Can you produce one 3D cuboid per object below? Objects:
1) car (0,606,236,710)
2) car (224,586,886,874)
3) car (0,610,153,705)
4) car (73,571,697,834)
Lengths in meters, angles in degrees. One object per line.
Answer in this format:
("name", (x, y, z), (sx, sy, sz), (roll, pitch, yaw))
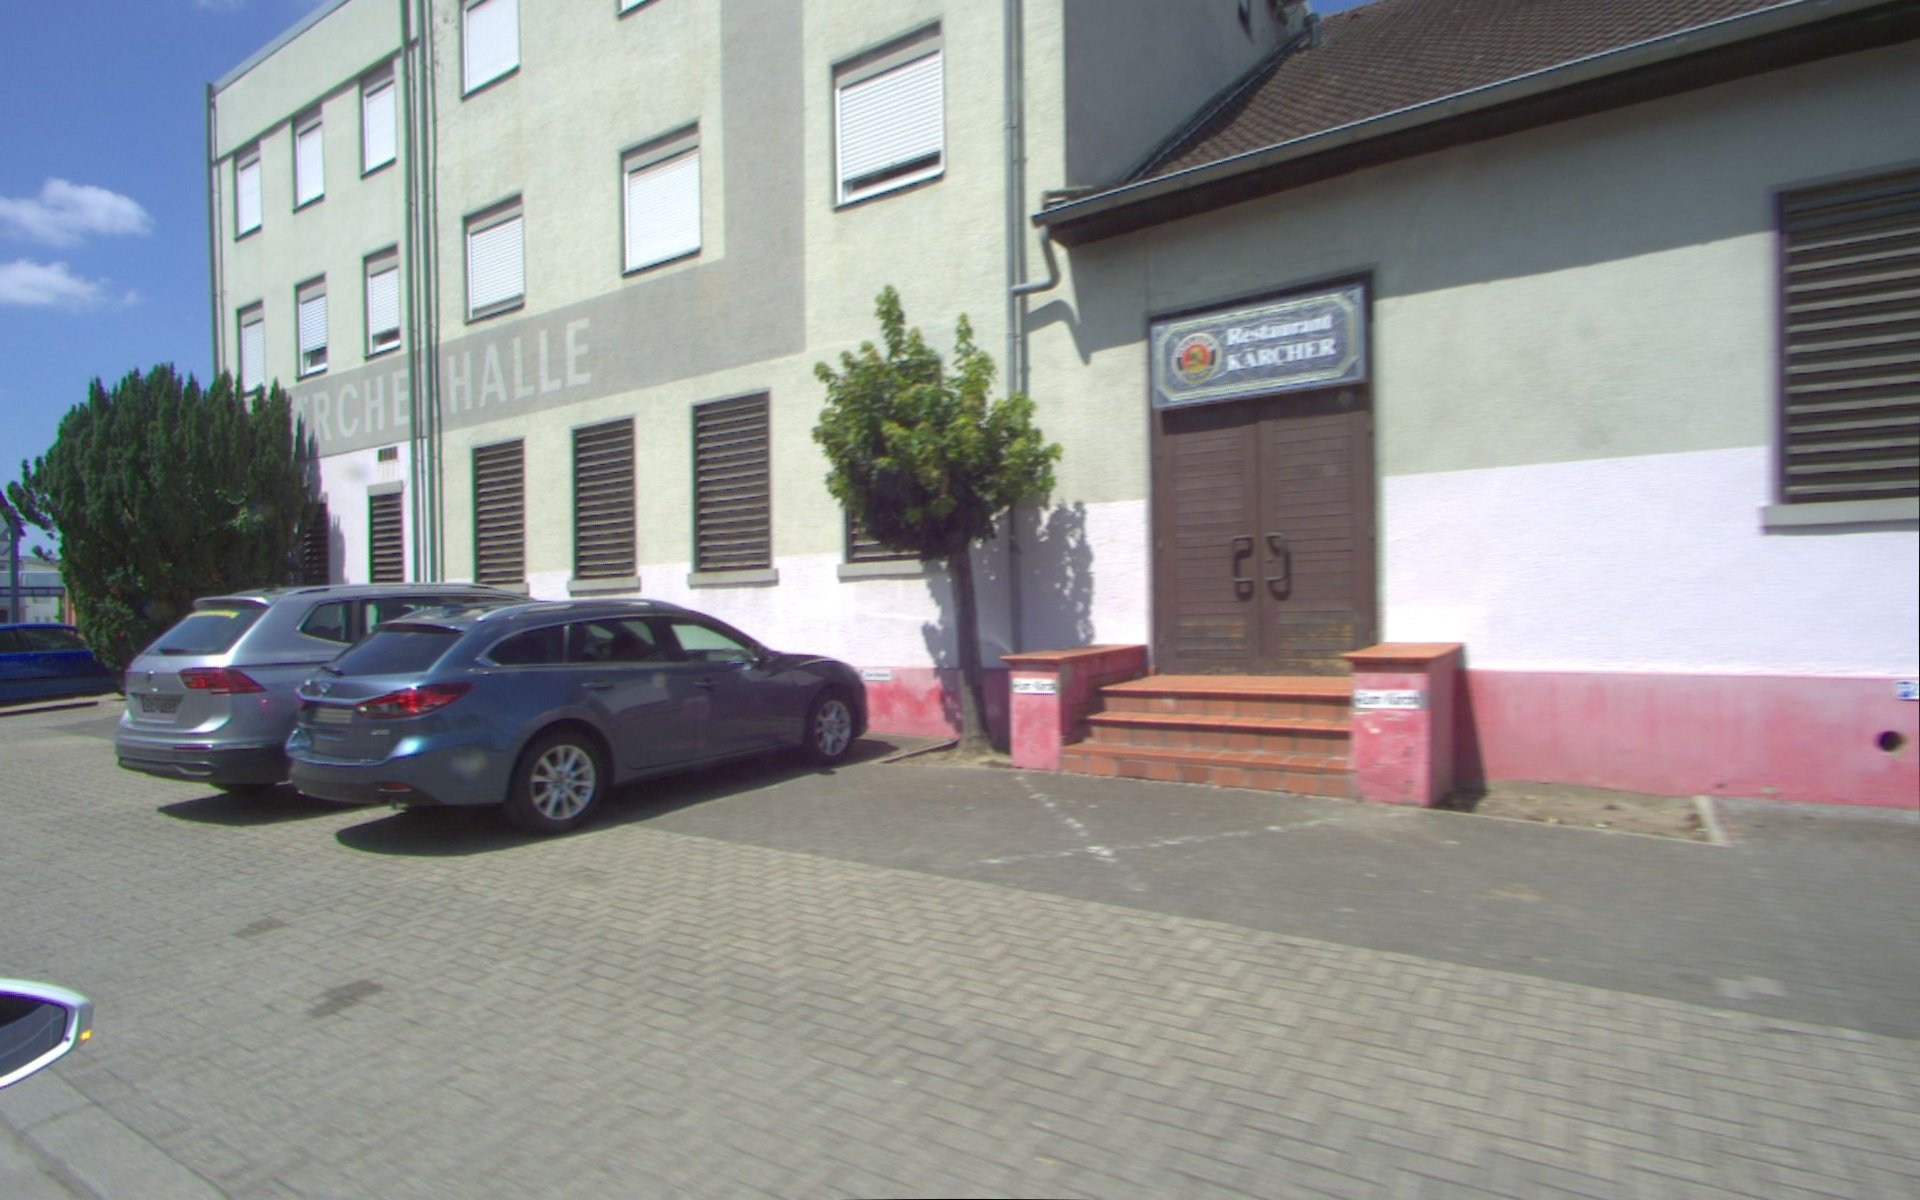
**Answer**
("car", (-15.207, 0.995, 16.995), (1.755, 1.458, 4.311), (-4, 0, 32))
("car", (-2.713, 0.698, 7.844), (1.971, 1.540, 4.490), (-1, 0, 32))
("car", (-17.905, 1.149, 18.745), (1.784, 1.511, 3.884), (-3, 3, 31))
("car", (-4.679, 0.654, 8.930), (1.895, 1.720, 4.444), (-1, 0, 31))
